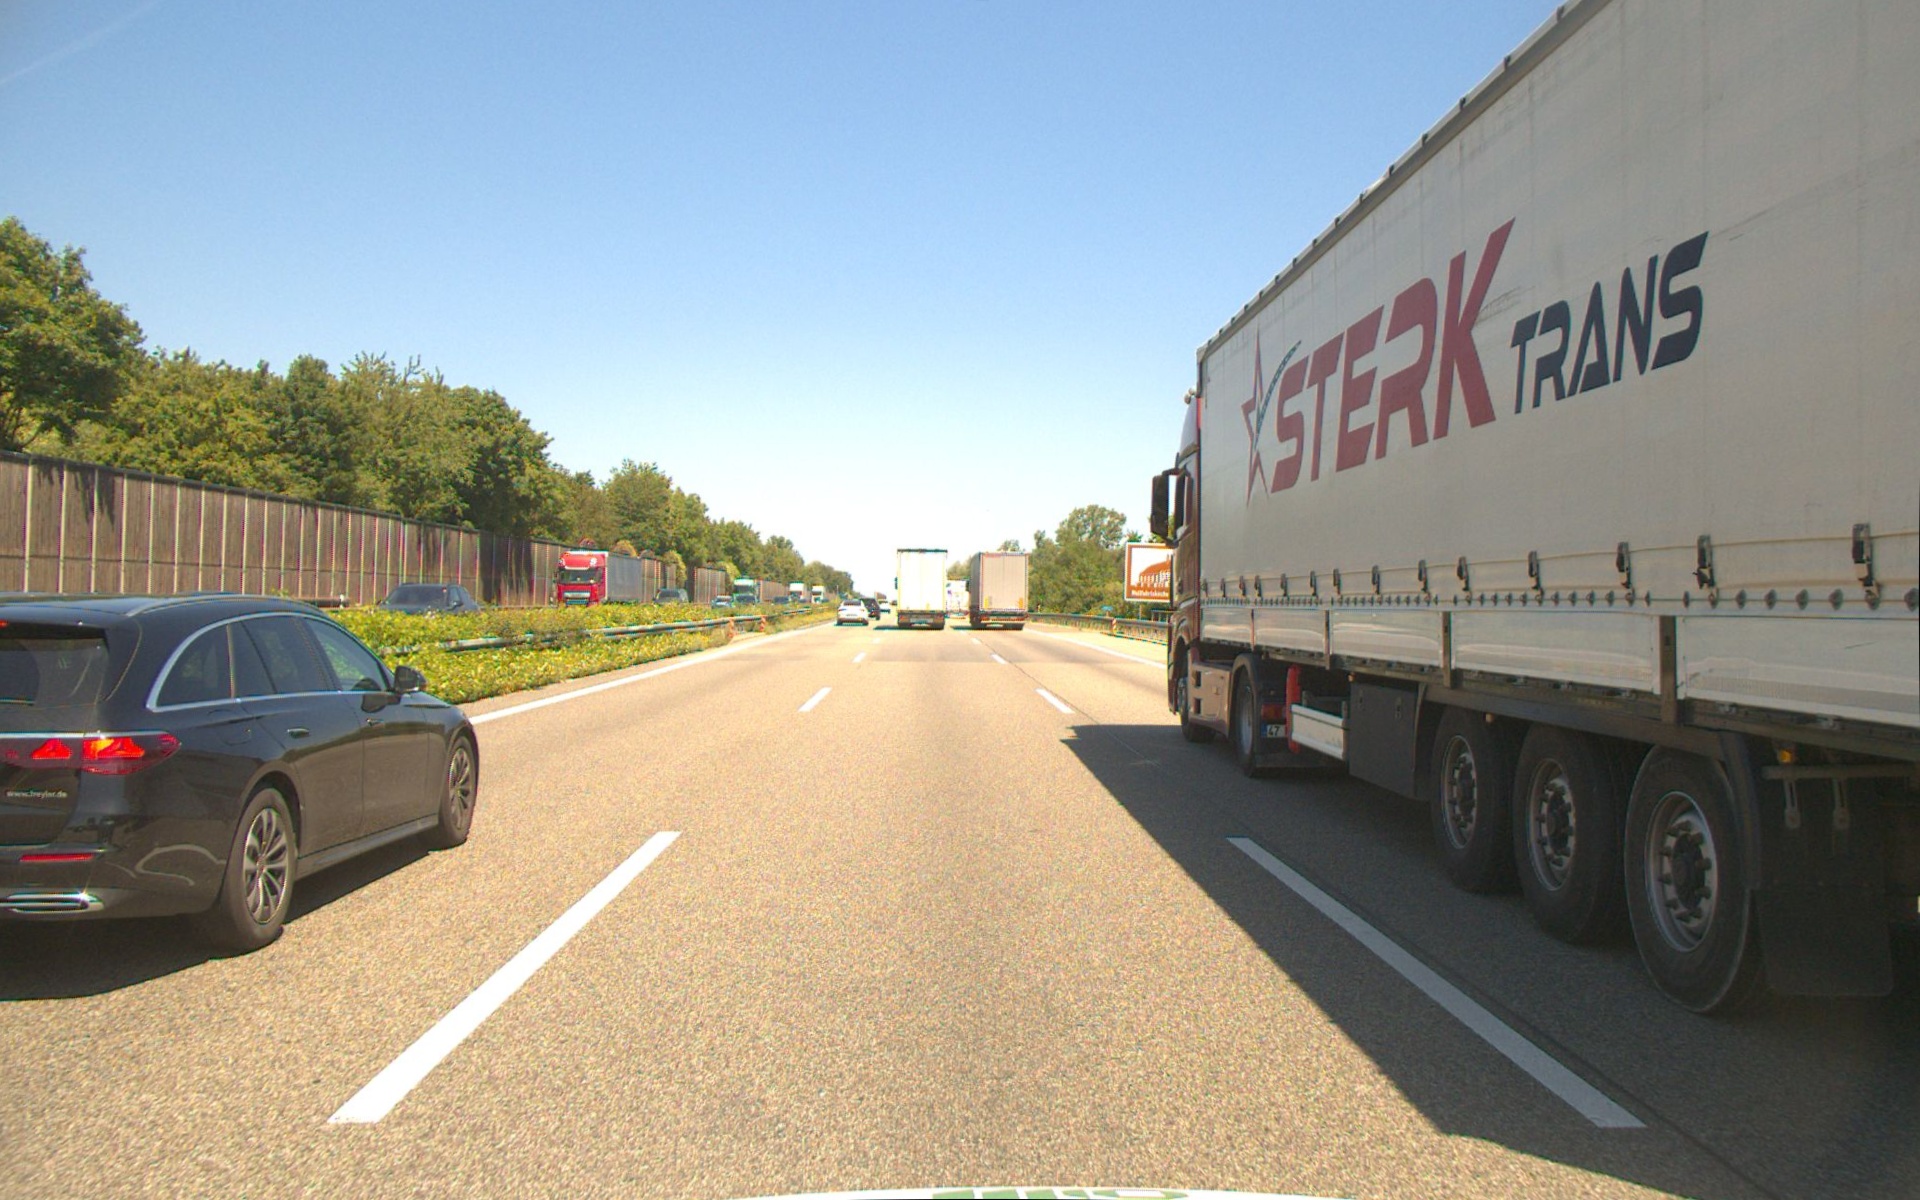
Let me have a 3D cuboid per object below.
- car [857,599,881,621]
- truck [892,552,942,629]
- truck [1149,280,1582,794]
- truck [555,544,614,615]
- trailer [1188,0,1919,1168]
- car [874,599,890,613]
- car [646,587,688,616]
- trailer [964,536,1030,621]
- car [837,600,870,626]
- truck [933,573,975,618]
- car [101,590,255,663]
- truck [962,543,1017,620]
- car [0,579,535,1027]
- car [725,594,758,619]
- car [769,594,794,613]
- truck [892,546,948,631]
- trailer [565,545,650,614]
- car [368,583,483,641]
[{"bbox_3d":[-7.034,0.772,128.112,1.818,1.645,3.997,1,0,-3],"label":"car"},{"bbox_3d":[-2.537,-0.516,95.512,2.673,4.157,7.273,2,0,-3],"label":"truck"},{"bbox_3d":[3.723,-0.507,17.029,2.652,4.160,6.963,1,0,-1],"label":"truck"},{"bbox_3d":[-22.635,-1.208,99.903,2.436,4.159,4.677,0,0,0],"label":"truck"},{"bbox_3d":[3.836,-0.531,10.263,2.652,4.160,14.148,1,0,-1],"label":"trailer"},{"bbox_3d":[-9.736,0.713,205.599,1.819,1.645,3.996,1,0,-5],"label":"car"},{"bbox_3d":[-19.451,0.084,109.956,1.953,1.847,5.218,1,0,-2],"label":"car"},{"bbox_3d":[1.916,-1.058,91.538,2.649,4.289,13.204,2,0,-3],"label":"trailer"},{"bbox_3d":[-6.309,0.760,97.978,1.818,1.512,3.998,1,0,-2],"label":"car"},{"bbox_3d":[-0.746,-0.466,176.944,3.309,4.378,11.438,4,0,-5],"label":"truck"},{"bbox_3d":[-18.423,0.596,39.178,1.777,1.628,3.999,1,0,-1],"label":"car"},{"bbox_3d":[1.672,-1.042,97.236,2.637,4.289,7.834,2,0,-3],"label":"truck"},{"bbox_3d":[-3.863,0.686,8.568,1.904,1.533,5.819,1,0,-1],"label":"car"},{"bbox_3d":[-15.998,0.458,121.482,1.953,1.750,4.243,1,0,-2],"label":"car"},{"bbox_3d":[-16.674,0.331,154.659,1.953,1.750,4.531,1,0,-2],"label":"car"},{"bbox_3d":[-2.269,-0.558,89.544,2.653,4.157,13.466,2,0,-2],"label":"truck"},{"bbox_3d":[-22.660,-1.184,107.163,2.445,4.159,14.269,0,0,0],"label":"trailer"},{"bbox_3d":[-13.454,0.279,41.857,1.671,1.378,3.999,1,0,-1],"label":"car"}]
